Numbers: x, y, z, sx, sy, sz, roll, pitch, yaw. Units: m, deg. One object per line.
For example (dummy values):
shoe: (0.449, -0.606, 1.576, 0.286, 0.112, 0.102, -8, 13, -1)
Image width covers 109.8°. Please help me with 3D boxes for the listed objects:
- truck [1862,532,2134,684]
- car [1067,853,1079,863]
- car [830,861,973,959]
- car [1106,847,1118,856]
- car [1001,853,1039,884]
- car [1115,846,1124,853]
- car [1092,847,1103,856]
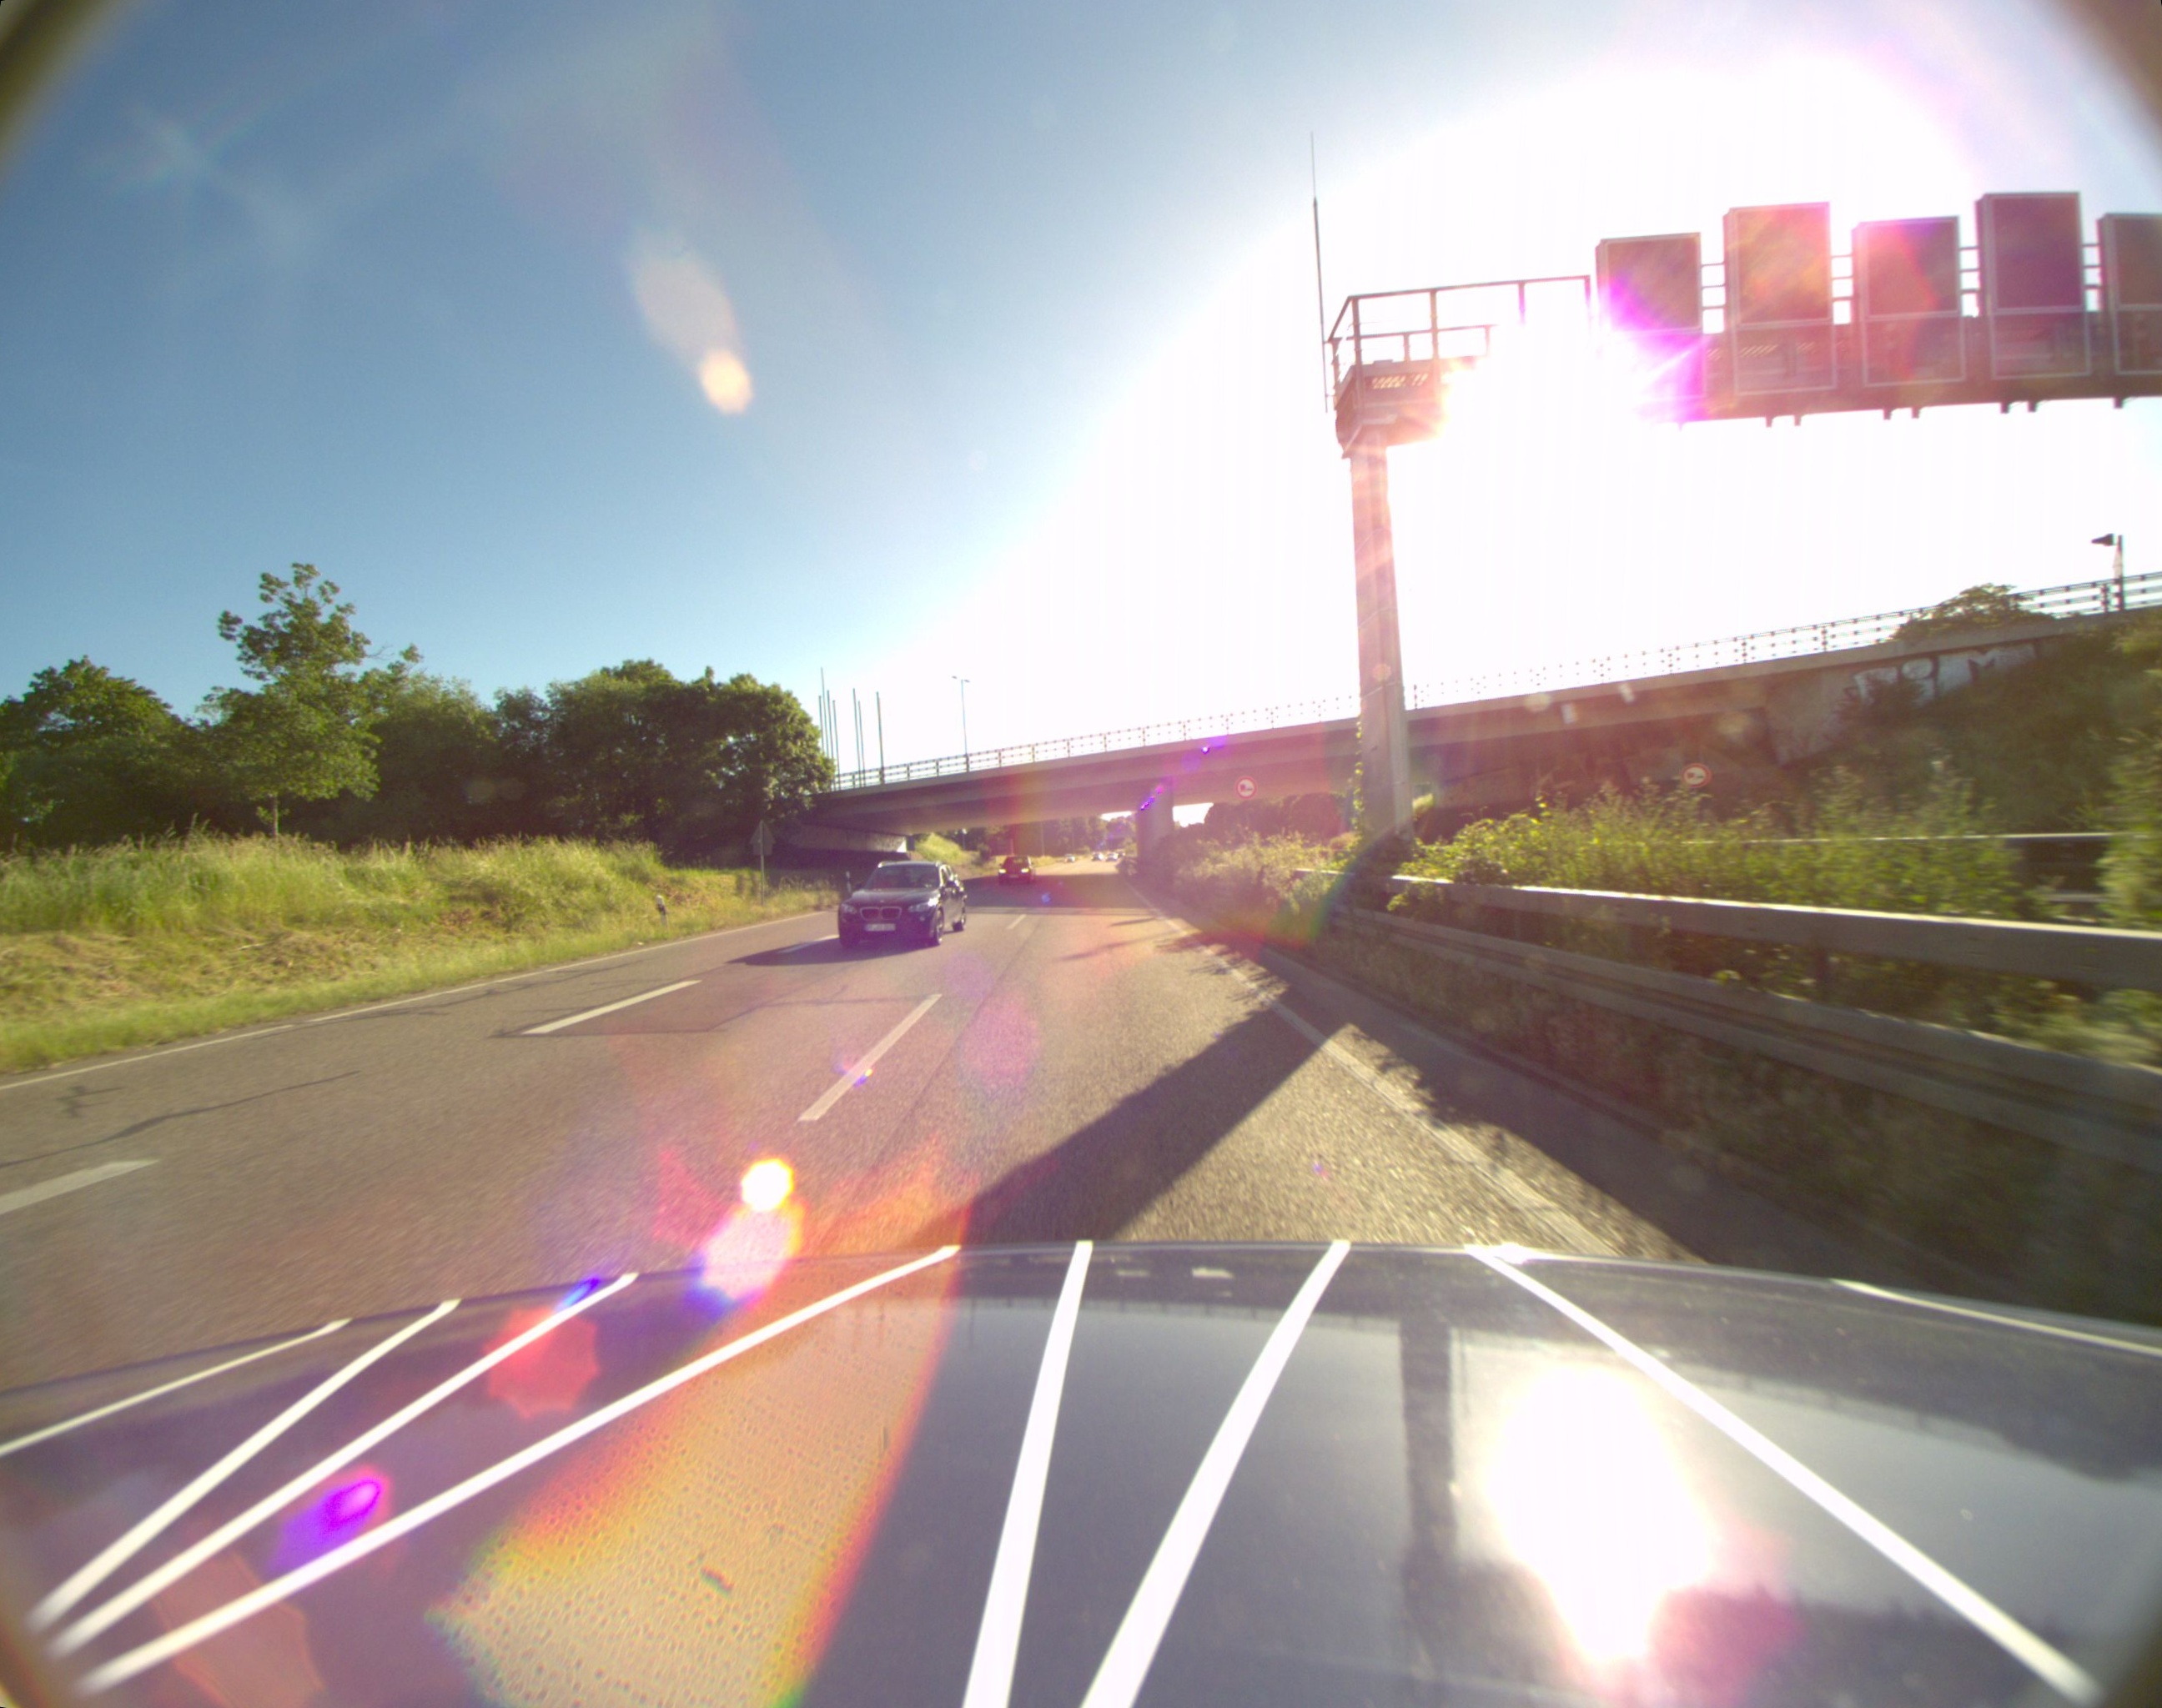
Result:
truck: (34.599, -9.157, 29.004, 6.256, 4.048, 2.003, -3, 1, 28)
car: (-1.350, 0.703, 129.193, 1.868, 1.681, 3.999, -2, 0, -2)
car: (-3.351, 0.964, 15.113, 1.703, 1.497, 4.578, -2, 1, 0)
car: (5.260, -0.425, 127.523, 1.725, 1.412, 3.670, -3, 1, 4)
car: (-3.499, 0.806, 44.392, 1.759, 1.564, 4.519, -2, 1, 0)
car: (7.996, -0.929, 156.776, 1.682, 1.412, 3.670, -3, 1, 5)
car: (3.023, -0.449, 137.617, 1.682, 1.412, 3.670, -3, 1, 4)
